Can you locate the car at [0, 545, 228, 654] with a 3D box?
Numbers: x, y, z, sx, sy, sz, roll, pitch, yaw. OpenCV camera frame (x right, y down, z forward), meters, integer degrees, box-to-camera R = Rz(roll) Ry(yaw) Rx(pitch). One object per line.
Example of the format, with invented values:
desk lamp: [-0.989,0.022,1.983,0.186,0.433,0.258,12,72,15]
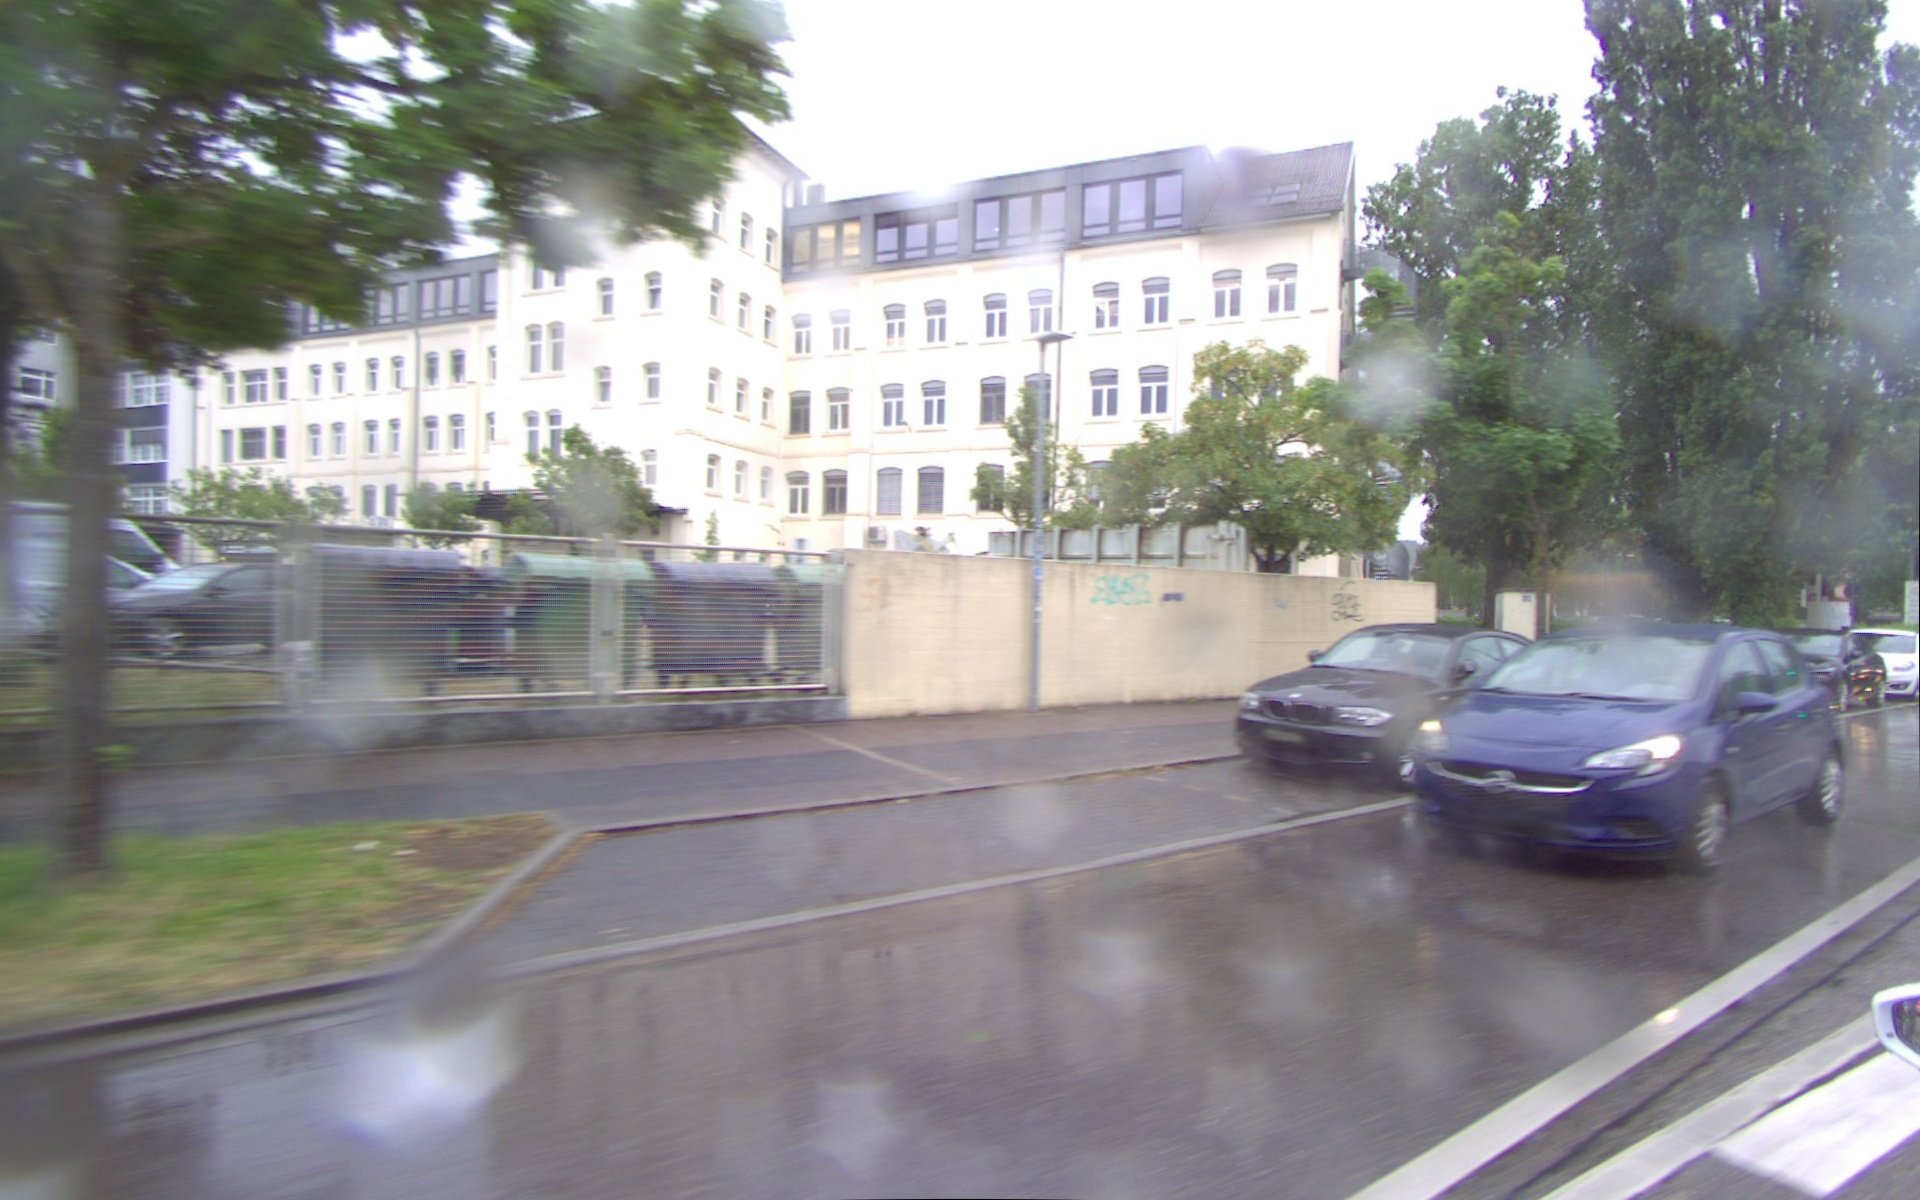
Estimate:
car: [-14.920,-0.027,16.681,1.715,1.662,4.144,2,0,25]

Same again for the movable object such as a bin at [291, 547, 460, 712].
movable object such as a bin: [-5.501,0.248,9.421,1.250,1.386,1.482,2,1,-34]

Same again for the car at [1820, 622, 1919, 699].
car: [20.732,1.300,22.420,4.087,1.493,1.589,2,0,-39]

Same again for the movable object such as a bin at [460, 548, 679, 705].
movable object such as a bin: [-4.102,0.255,10.509,1.813,1.461,1.549,2,1,-34]

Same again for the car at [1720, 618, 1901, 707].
car: [16.154,1.133,19.030,4.142,1.401,1.714,2,2,-37]

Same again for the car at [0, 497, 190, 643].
car: [-16.807,-0.529,17.675,2.109,2.428,4.716,2,0,25]

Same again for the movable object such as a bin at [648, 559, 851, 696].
movable object such as a bin: [-2.514,0.289,11.863,1.738,1.443,1.898,2,1,-34]

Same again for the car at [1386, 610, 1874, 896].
car: [4.929,0.891,7.221,3.908,1.521,1.694,2,-3,-36]

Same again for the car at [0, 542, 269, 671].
car: [-12.664,0.064,14.488,1.962,1.662,3.996,2,0,25]

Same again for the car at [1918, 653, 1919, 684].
car: [29.133,1.731,28.957,4.156,1.416,1.533,2,1,-38]

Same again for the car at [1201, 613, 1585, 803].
car: [4.434,0.943,10.057,4.058,1.464,1.684,2,1,-36]

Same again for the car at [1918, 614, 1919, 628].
car: [111.075,2.440,114.085,1.885,1.642,4.367,2,0,24]

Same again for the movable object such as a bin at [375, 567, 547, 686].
movable object such as a bin: [-6.285,0.319,12.648,1.771,1.386,1.208,2,1,-35]

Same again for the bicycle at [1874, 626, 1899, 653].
bicycle: [38.563,1.642,41.796,1.782,1.091,0.550,2,1,-42]

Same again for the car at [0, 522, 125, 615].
car: [-20.079,-0.663,20.106,2.109,1.847,4.716,2,0,25]
